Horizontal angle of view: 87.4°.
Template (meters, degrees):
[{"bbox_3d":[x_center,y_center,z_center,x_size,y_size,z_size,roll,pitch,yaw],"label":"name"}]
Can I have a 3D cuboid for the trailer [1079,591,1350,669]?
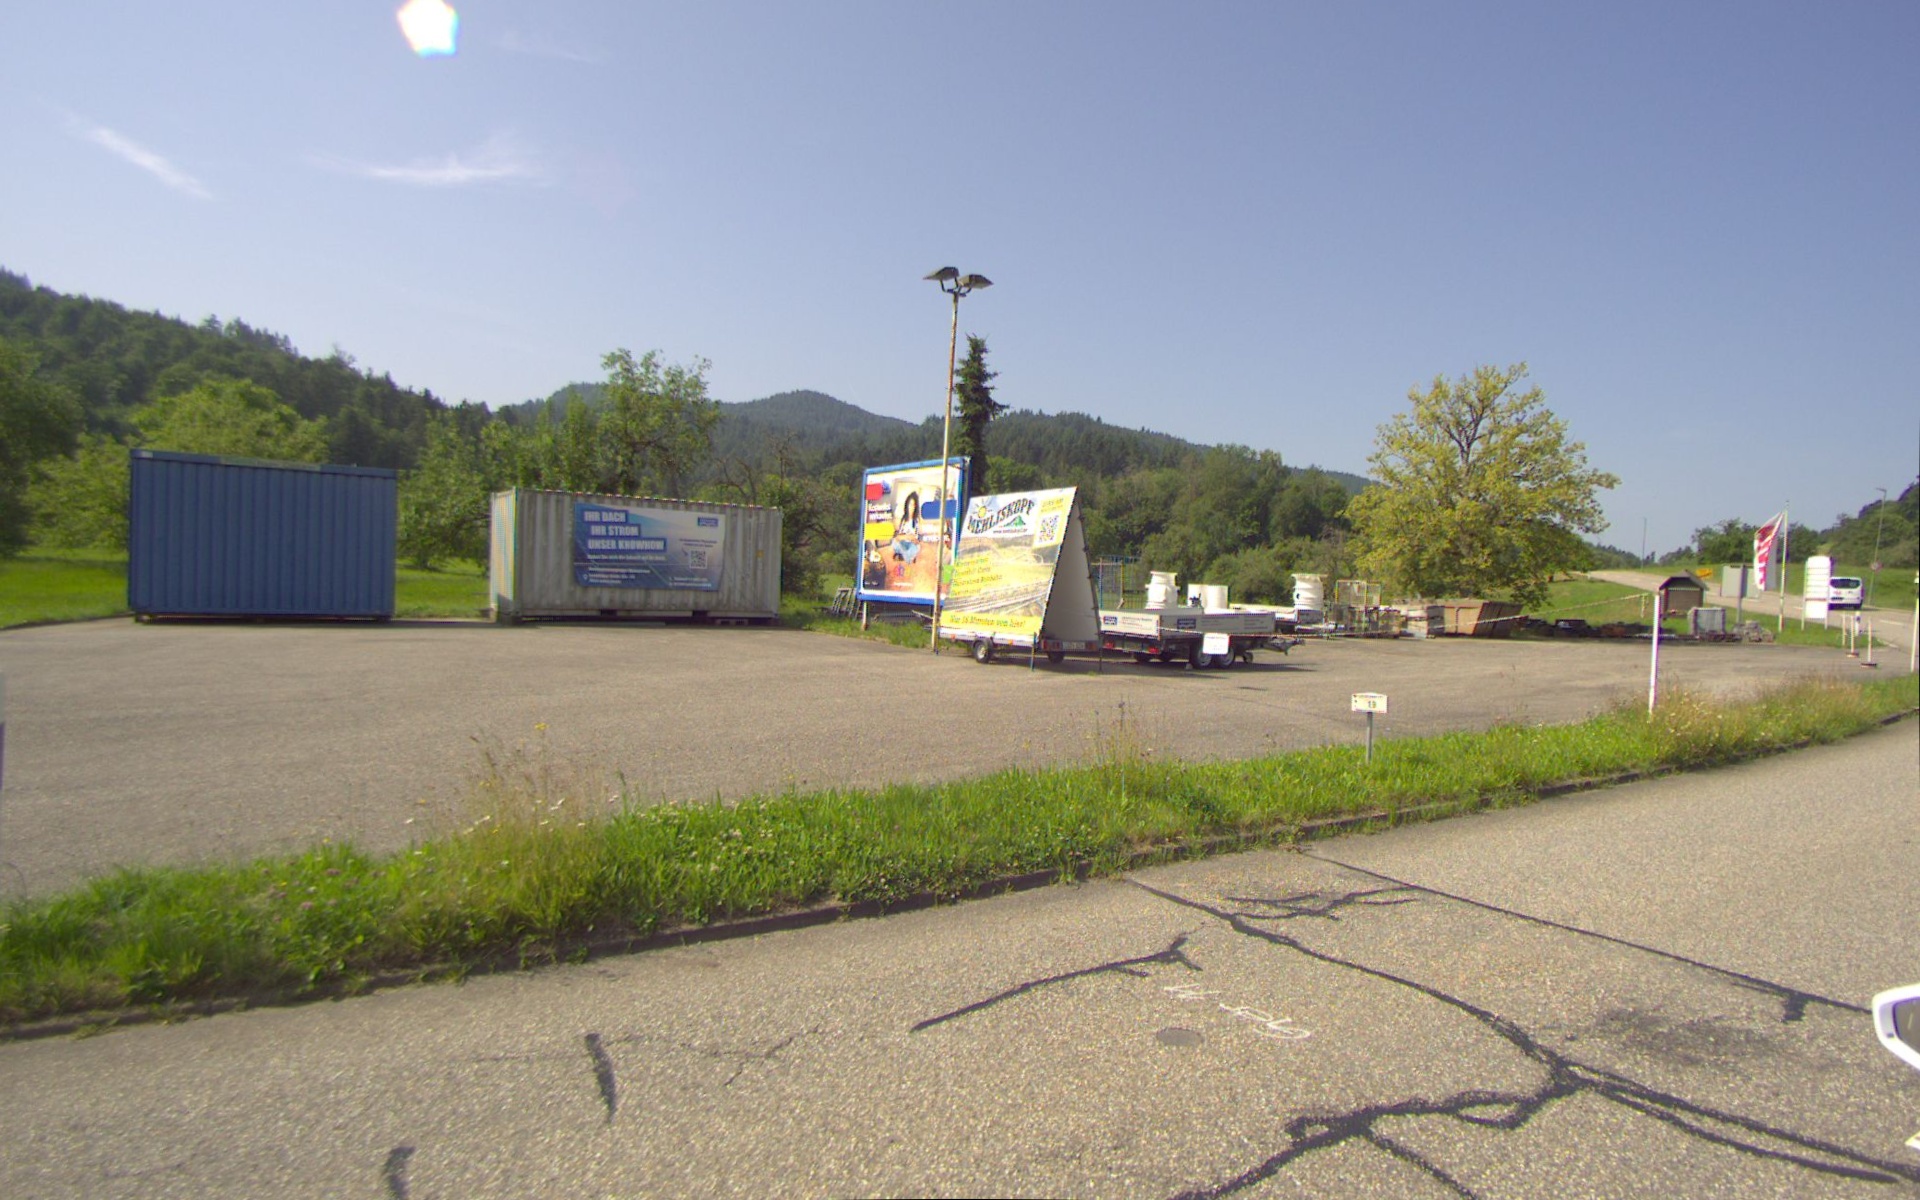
[{"bbox_3d":[5.071,0.576,19.607,5.490,1.243,1.980,2,2,-35],"label":"trailer"}]

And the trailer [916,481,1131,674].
[{"bbox_3d":[1.000,-0.413,17.259,1.866,2.951,3.366,1,3,-37],"label":"trailer"}]

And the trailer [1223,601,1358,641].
[{"bbox_3d":[10.708,0.654,32.789,1.847,0.952,3.910,3,2,-32],"label":"trailer"}]

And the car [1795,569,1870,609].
[{"bbox_3d":[54.478,-0.676,62.831,2.188,2.317,4.980,-1,0,25],"label":"car"}]
